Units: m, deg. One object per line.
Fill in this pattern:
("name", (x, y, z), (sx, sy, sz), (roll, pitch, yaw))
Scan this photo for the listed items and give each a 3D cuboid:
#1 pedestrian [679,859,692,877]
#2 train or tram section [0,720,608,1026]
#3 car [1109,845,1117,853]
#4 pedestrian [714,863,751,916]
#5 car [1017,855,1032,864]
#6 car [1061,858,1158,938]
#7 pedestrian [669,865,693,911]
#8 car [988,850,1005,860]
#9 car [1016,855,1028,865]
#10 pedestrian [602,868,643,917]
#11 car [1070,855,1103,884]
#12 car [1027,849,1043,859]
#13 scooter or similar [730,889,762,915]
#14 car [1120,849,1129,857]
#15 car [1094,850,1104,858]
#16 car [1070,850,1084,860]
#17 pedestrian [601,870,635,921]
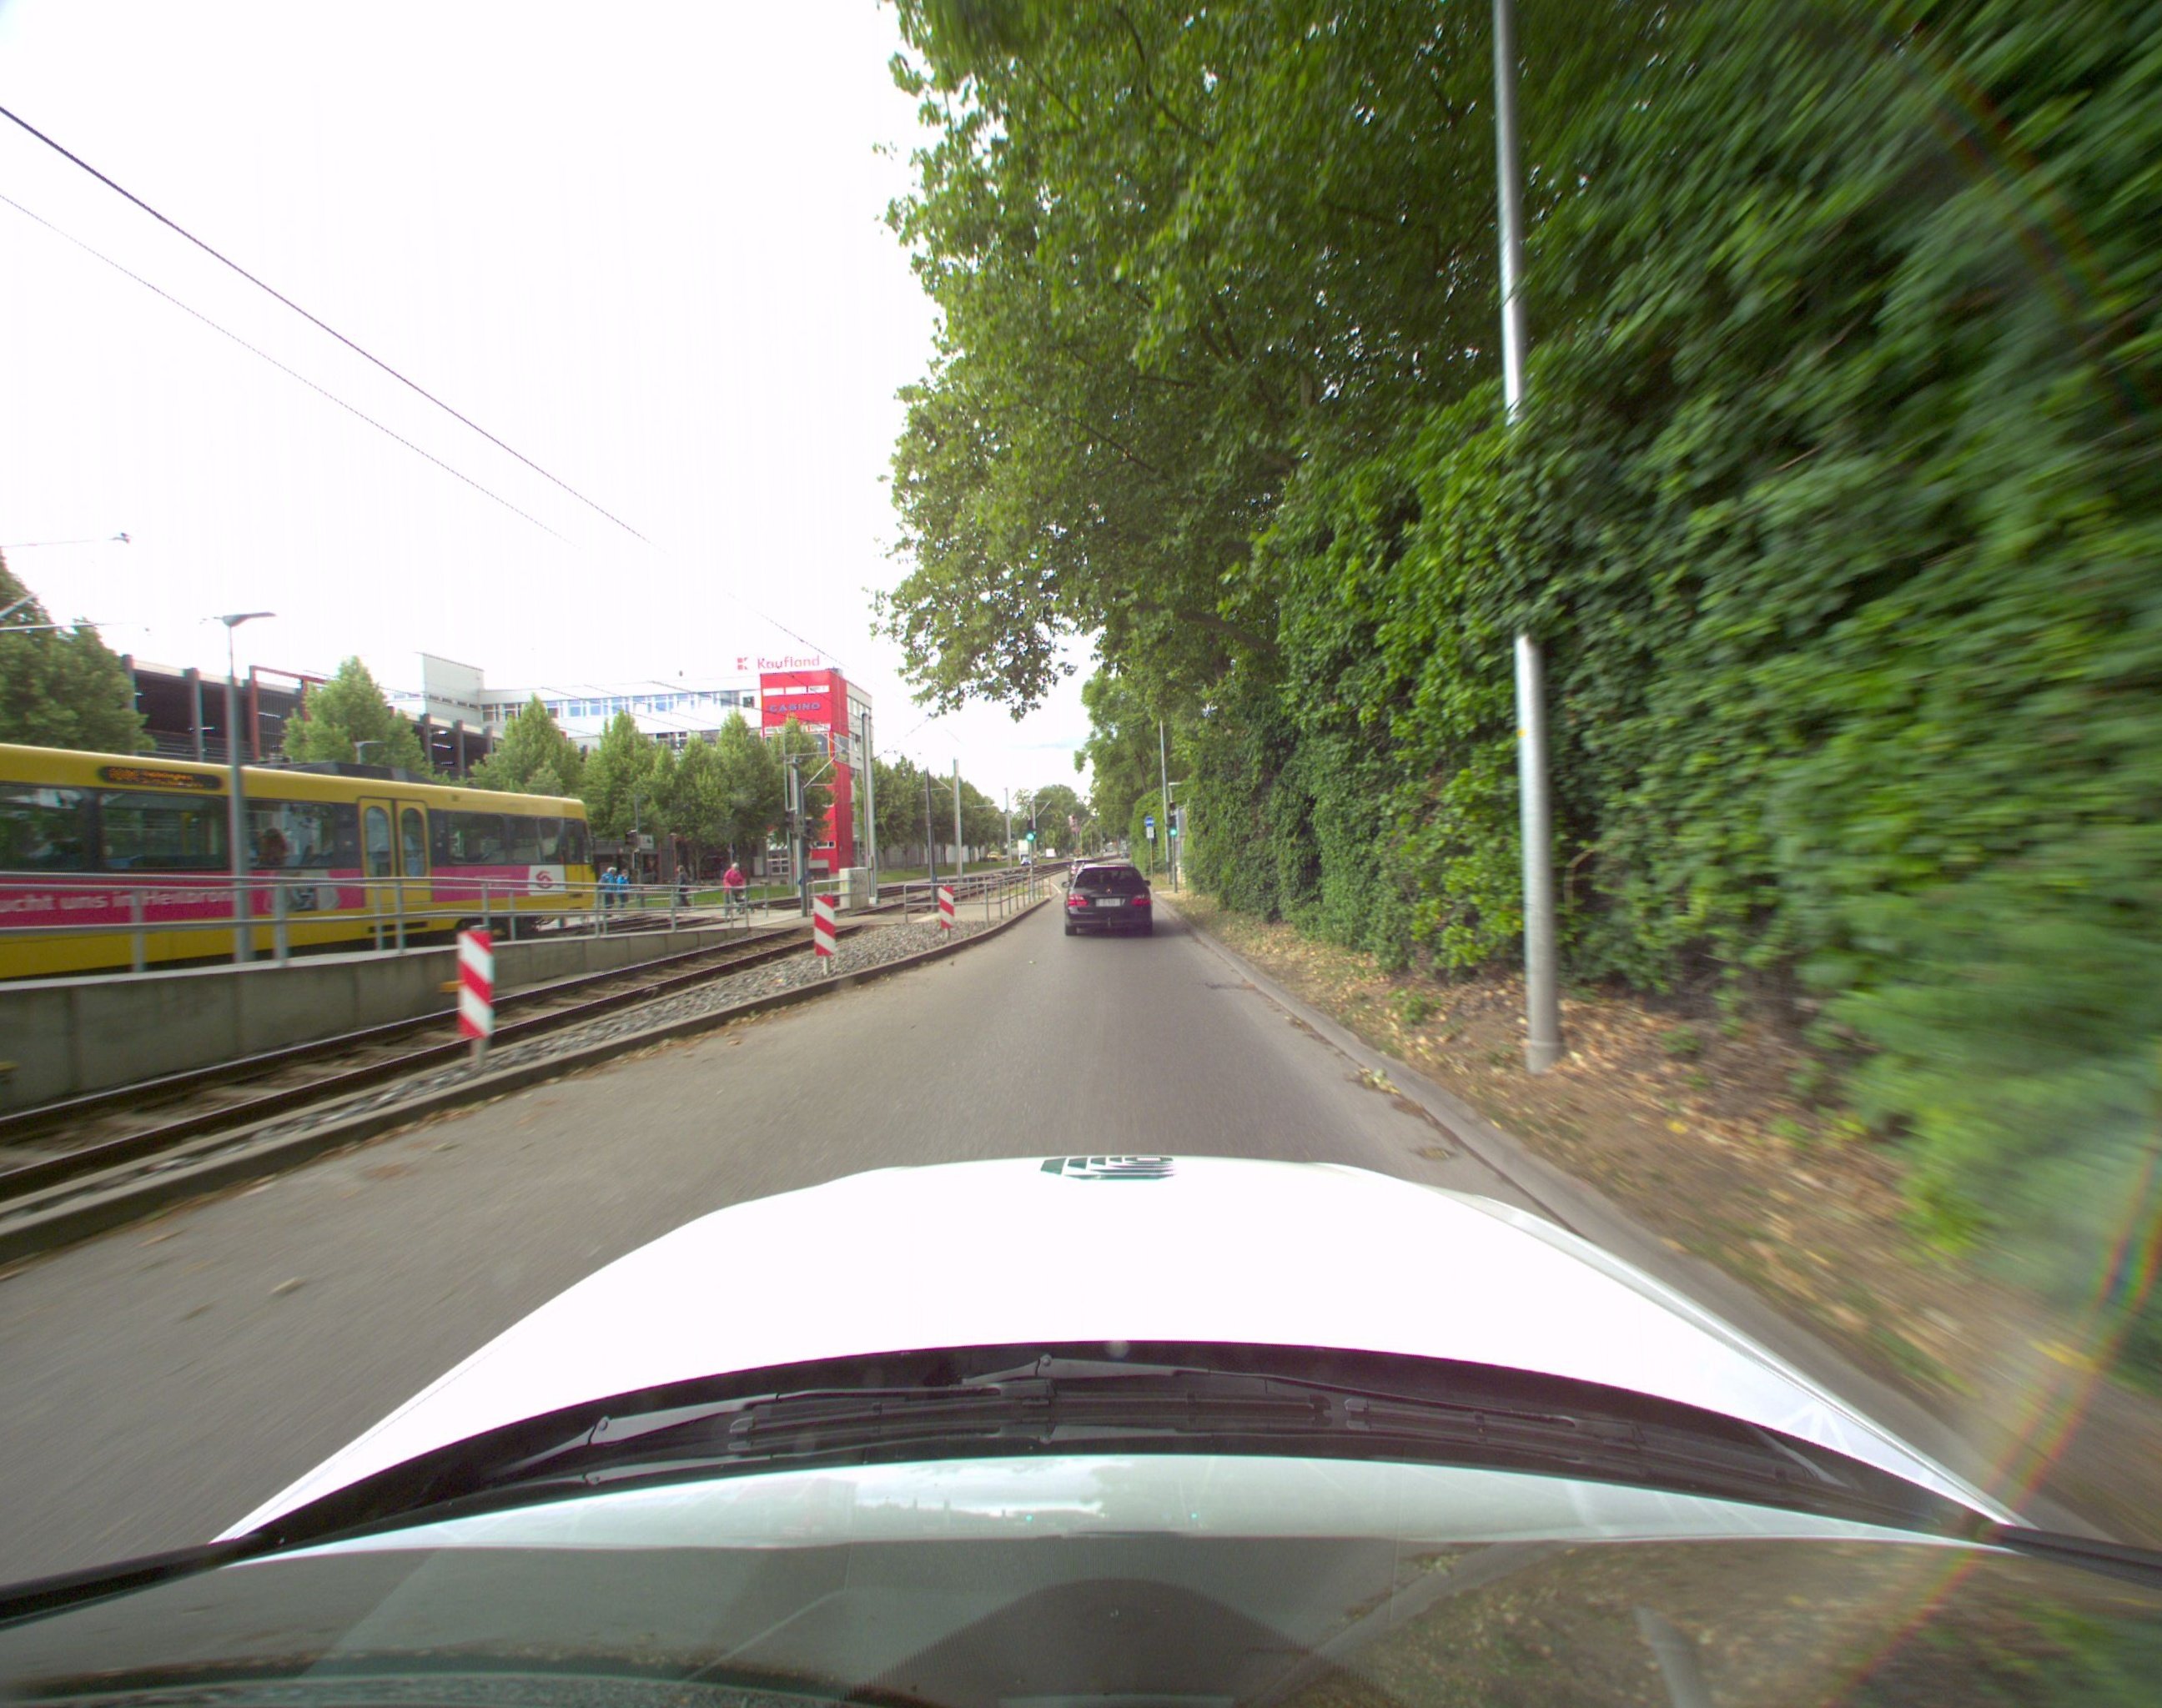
("pedestrian", (-39.936, 1.426, 82.173), (0.734, 1.694, 0.867), (-4, 0, 2))
("train or tram section", (-14.747, 0.296, 12.507), (2.744, 3.828, 18.651), (-3, 0, 4))
("car", (8.577, -1.413, 217.474), (1.884, 2.013, 3.900), (-4, 0, 2))
("pedestrian", (-11.338, 1.151, 26.490), (0.607, 1.654, 0.800), (-4, 0, 23))
("car", (-9.207, 0.887, 132.264), (1.651, 1.393, 3.726), (-2, 0, 7))
("car", (0.655, 0.861, 17.839), (1.826, 1.478, 4.419), (-2, 0, 3))
("pedestrian", (-14.716, 1.239, 29.944), (0.513, 1.662, 0.467), (-4, 0, 13))
("car", (-15.873, 0.237, 153.094), (1.983, 1.743, 4.996), (-3, 0, 6))
("car", (-13.317, 1.329, 184.205), (1.986, 2.013, 4.002), (-4, 0, 2))
("pedestrian", (-16.082, 1.343, 28.601), (0.707, 1.611, 0.945), (-4, 0, 13))
("car", (0.383, 0.898, 48.703), (1.818, 1.530, 4.417), (-2, 0, 2))
("car", (-11.573, 0.043, 204.328), (3.978, 2.123, 1.998), (-4, 0, -3))
("scooter or similar", (-10.798, 1.551, 26.277), (0.491, 0.768, 0.803), (-4, 0, 23))
("car", (9.077, -0.179, 169.360), (1.817, 1.530, 4.420), (-3, 0, 4))
("car", (3.880, 0.015, 172.718), (1.817, 1.530, 3.990), (-2, 0, 4))
("car", (-0.571, 0.130, 128.506), (1.817, 1.530, 3.932), (-2, 0, 4))
("pedestrian", (-15.823, 1.405, 27.837), (0.720, 1.698, 0.660), (-3, -1, 23))
